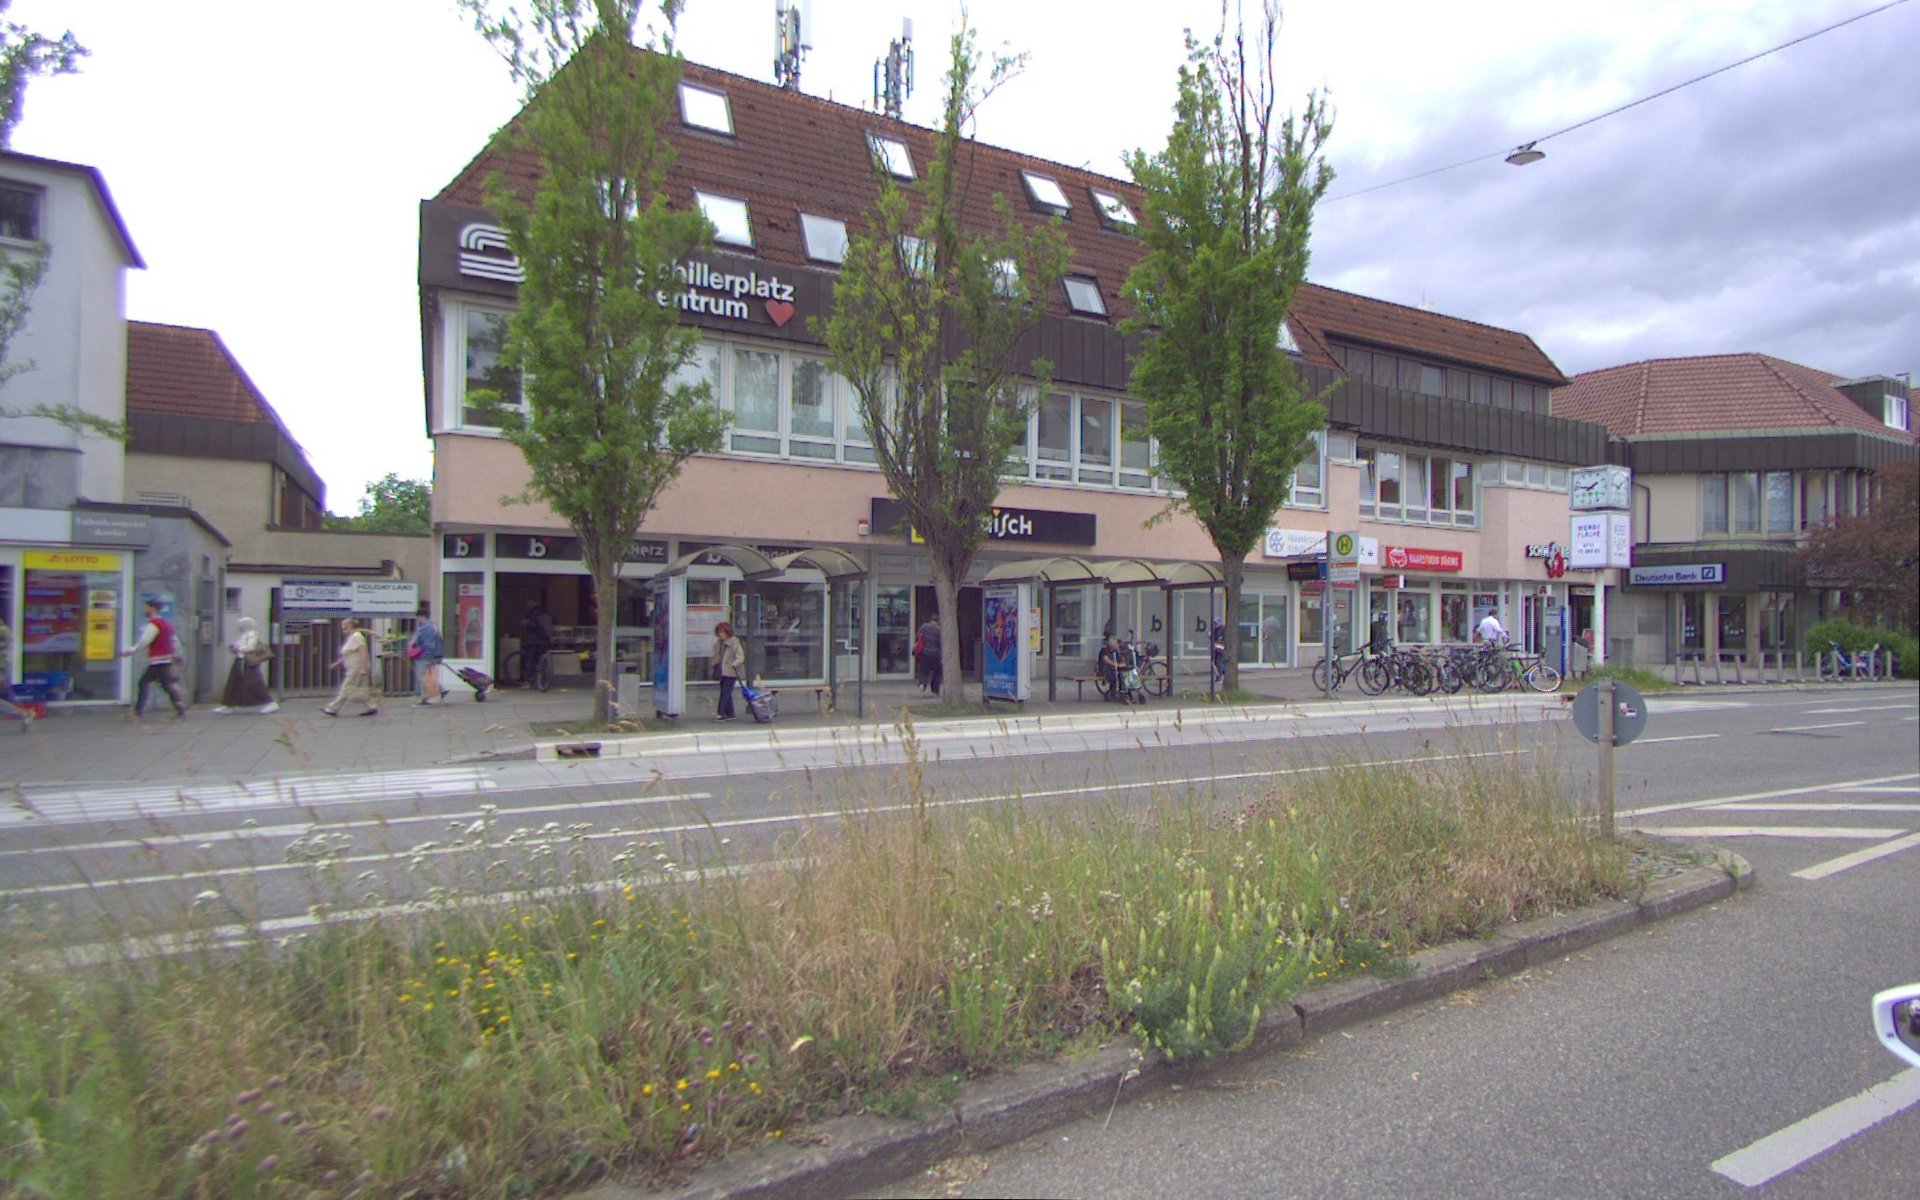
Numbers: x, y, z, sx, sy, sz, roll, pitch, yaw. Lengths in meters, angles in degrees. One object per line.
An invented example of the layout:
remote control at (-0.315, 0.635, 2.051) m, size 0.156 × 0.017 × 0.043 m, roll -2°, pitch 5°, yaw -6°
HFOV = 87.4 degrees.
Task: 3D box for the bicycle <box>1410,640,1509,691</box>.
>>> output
bicycle at (11.632, 1.508, 23.459) m, size 0.643 × 1.105 × 2.003 m, roll 1°, pitch -1°, yaw -37°

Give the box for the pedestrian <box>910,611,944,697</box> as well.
pedestrian at (-0.664, 1.071, 20.077) m, size 0.577 × 1.674 × 0.713 m, roll 0°, pitch 0°, yaw -9°

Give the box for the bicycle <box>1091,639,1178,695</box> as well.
bicycle at (3.687, 1.395, 21.151) m, size 1.908 × 1.105 × 0.531 m, roll 1°, pitch 0°, yaw -30°

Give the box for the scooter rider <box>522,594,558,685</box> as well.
scooter rider at (-8.297, 0.771, 19.837) m, size 0.581 × 1.735 × 0.610 m, roll 0°, pitch 2°, yaw -31°

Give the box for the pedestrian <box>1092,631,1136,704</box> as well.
pedestrian at (3.045, 1.315, 19.870) m, size 0.580 × 1.382 × 0.709 m, roll 0°, pitch 0°, yaw -26°

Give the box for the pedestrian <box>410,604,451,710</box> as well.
pedestrian at (-9.064, 0.956, 17.188) m, size 0.607 × 1.735 × 0.583 m, roll 0°, pitch 2°, yaw -30°

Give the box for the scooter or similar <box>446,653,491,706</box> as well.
scooter or similar at (-8.591, 1.378, 17.555) m, size 0.694 × 0.860 × 0.589 m, roll 1°, pitch -1°, yaw -29°

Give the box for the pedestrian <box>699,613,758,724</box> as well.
pedestrian at (-3.638, 1.055, 15.801) m, size 0.580 × 1.674 × 0.709 m, roll 0°, pitch 1°, yaw 44°

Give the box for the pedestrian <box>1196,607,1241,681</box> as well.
pedestrian at (6.437, 1.075, 25.046) m, size 0.746 × 1.788 × 0.722 m, roll 0°, pitch 2°, yaw -30°

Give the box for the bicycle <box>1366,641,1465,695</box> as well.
bicycle at (10.460, 1.536, 23.131) m, size 0.643 × 1.105 × 2.003 m, roll 1°, pitch 0°, yaw -37°

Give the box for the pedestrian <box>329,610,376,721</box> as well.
pedestrian at (-9.417, 1.001, 15.584) m, size 0.607 × 1.656 × 0.583 m, roll 0°, pitch 2°, yaw -30°

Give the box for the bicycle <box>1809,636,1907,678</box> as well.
bicycle at (25.630, 1.607, 28.711) m, size 0.643 × 1.105 × 2.003 m, roll 1°, pitch -1°, yaw -37°

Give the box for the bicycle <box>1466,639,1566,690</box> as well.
bicycle at (13.179, 1.510, 23.870) m, size 0.643 × 1.105 × 2.003 m, roll 1°, pitch -1°, yaw -37°

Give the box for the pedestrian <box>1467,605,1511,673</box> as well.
pedestrian at (14.485, 1.053, 27.510) m, size 0.746 × 1.788 × 0.722 m, roll 0°, pitch 2°, yaw -30°

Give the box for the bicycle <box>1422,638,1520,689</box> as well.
bicycle at (12.153, 1.488, 23.947) m, size 0.643 × 1.105 × 2.003 m, roll 1°, pitch -1°, yaw -37°

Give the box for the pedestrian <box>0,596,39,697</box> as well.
pedestrian at (-16.108, 0.778, 17.111) m, size 0.583 × 1.656 × 0.607 m, roll -1°, pitch 3°, yaw -41°

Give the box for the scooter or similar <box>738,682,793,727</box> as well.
scooter or similar at (-3.010, 1.607, 15.527) m, size 0.694 × 0.609 × 0.589 m, roll 1°, pitch -1°, yaw -29°

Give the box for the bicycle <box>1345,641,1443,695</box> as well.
bicycle at (9.655, 1.487, 22.420) m, size 0.642 × 1.105 × 2.007 m, roll 1°, pitch -1°, yaw -32°

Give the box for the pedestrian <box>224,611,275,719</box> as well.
pedestrian at (-11.314, 1.011, 16.009) m, size 0.607 × 1.656 × 0.583 m, roll 0°, pitch 2°, yaw -30°

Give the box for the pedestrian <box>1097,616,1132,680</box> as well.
pedestrian at (3.903, 1.202, 25.448) m, size 0.581 × 1.568 × 0.708 m, roll 0°, pitch 0°, yaw -29°

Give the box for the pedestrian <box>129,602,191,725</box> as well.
pedestrian at (-11.740, 0.911, 14.755) m, size 0.607 × 1.735 × 0.583 m, roll 0°, pitch 2°, yaw -30°

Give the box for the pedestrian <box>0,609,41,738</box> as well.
pedestrian at (-12.654, 0.957, 13.281) m, size 0.607 × 1.656 × 0.583 m, roll 0°, pitch 2°, yaw -30°

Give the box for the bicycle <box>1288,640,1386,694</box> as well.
bicycle at (8.489, 1.483, 22.690) m, size 0.644 × 1.105 × 2.000 m, roll 1°, pitch 0°, yaw -41°
